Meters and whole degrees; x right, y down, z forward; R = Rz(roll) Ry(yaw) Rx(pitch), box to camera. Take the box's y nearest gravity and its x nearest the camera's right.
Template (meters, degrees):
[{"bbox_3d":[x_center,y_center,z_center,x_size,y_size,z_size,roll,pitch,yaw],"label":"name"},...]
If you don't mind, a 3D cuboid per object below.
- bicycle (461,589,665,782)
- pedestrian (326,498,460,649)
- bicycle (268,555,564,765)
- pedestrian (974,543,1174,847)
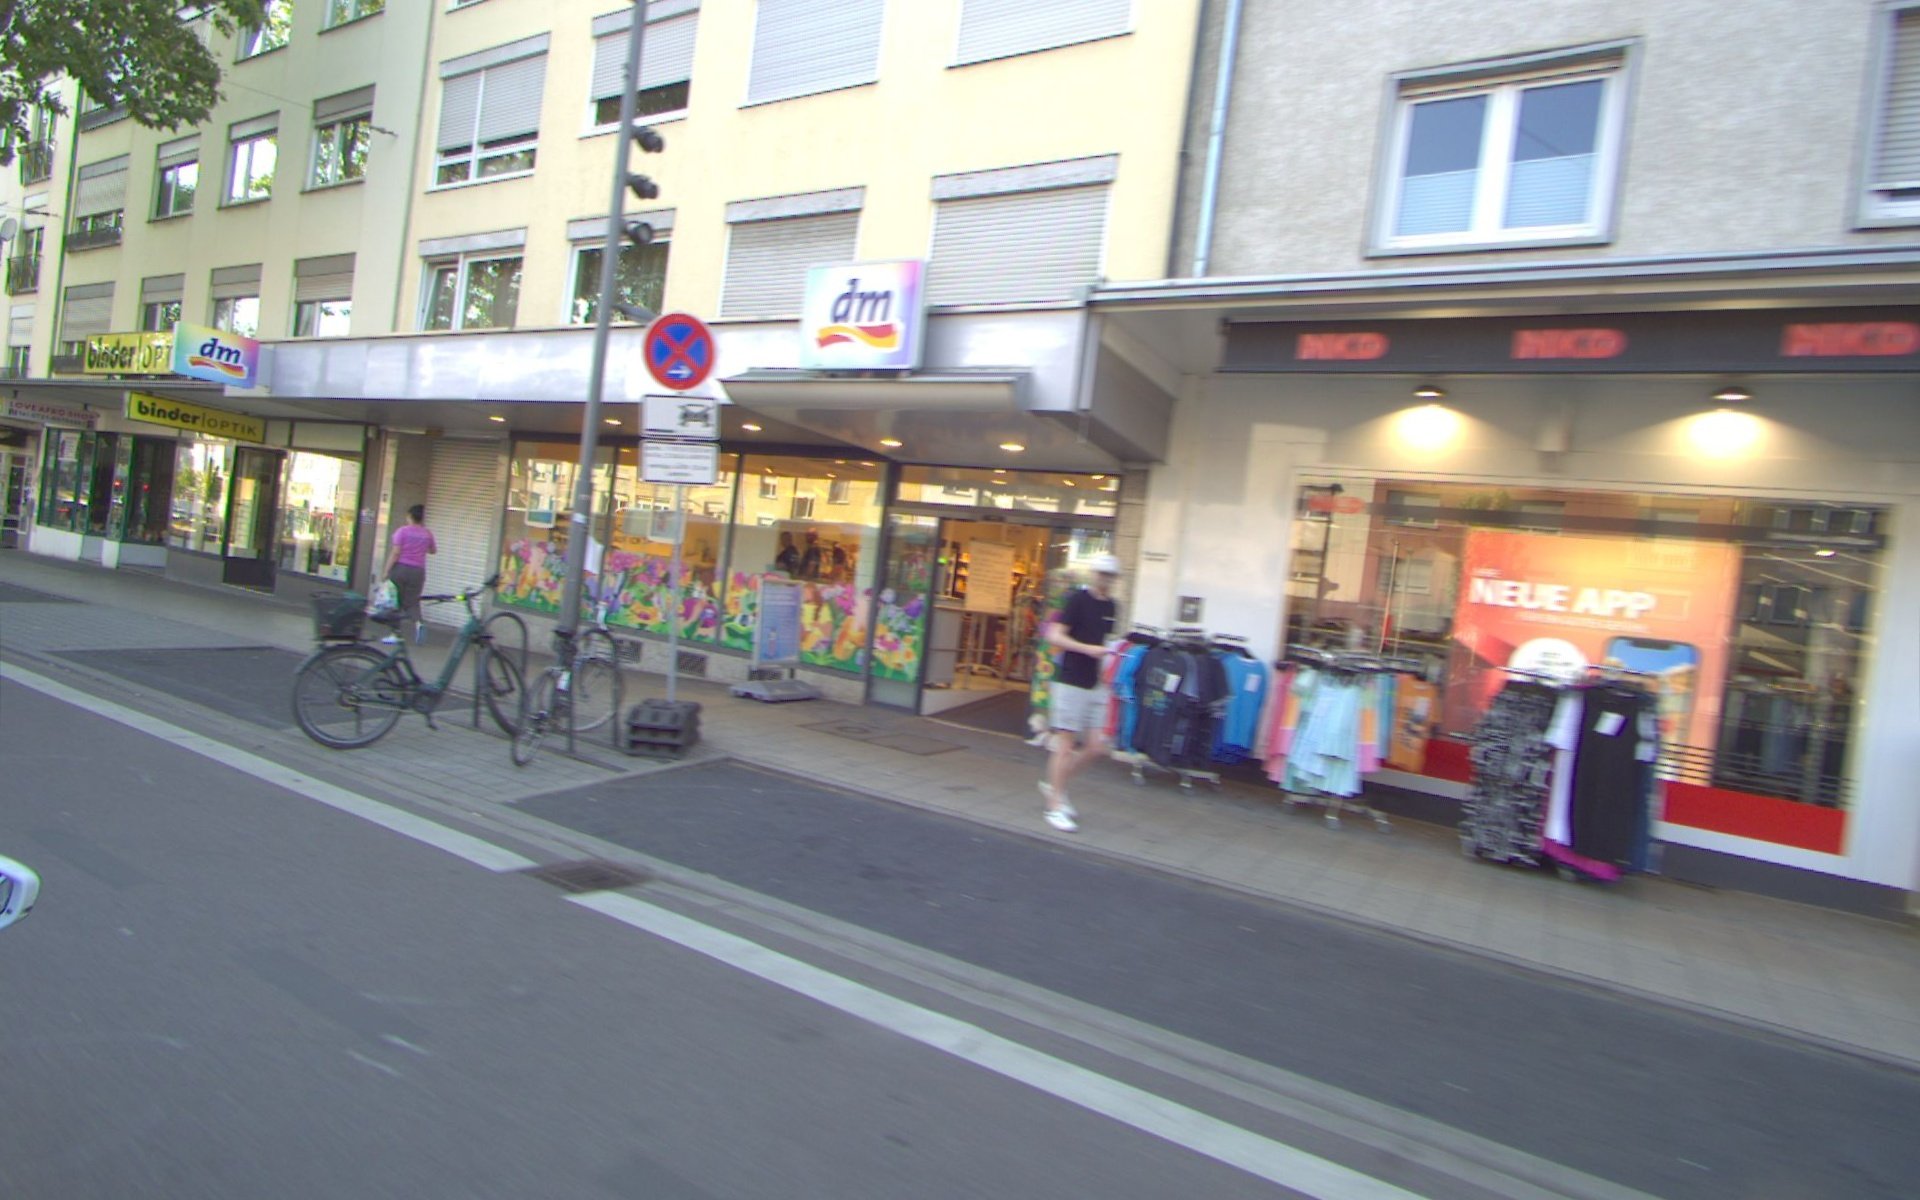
[{"bbox_3d":[-2.870,0.553,7.483,0.651,1.141,1.790,5,4,4],"label":"bicycle"},{"bbox_3d":[-7.241,-0.328,12.866,1.115,1.786,0.968,6,1,31],"label":"pedestrian"},{"bbox_3d":[-3.957,0.383,7.417,0.684,1.331,1.780,8,6,42],"label":"bicycle"},{"bbox_3d":[0.769,0.586,6.766,0.915,1.825,0.773,8,4,33],"label":"pedestrian"}]
